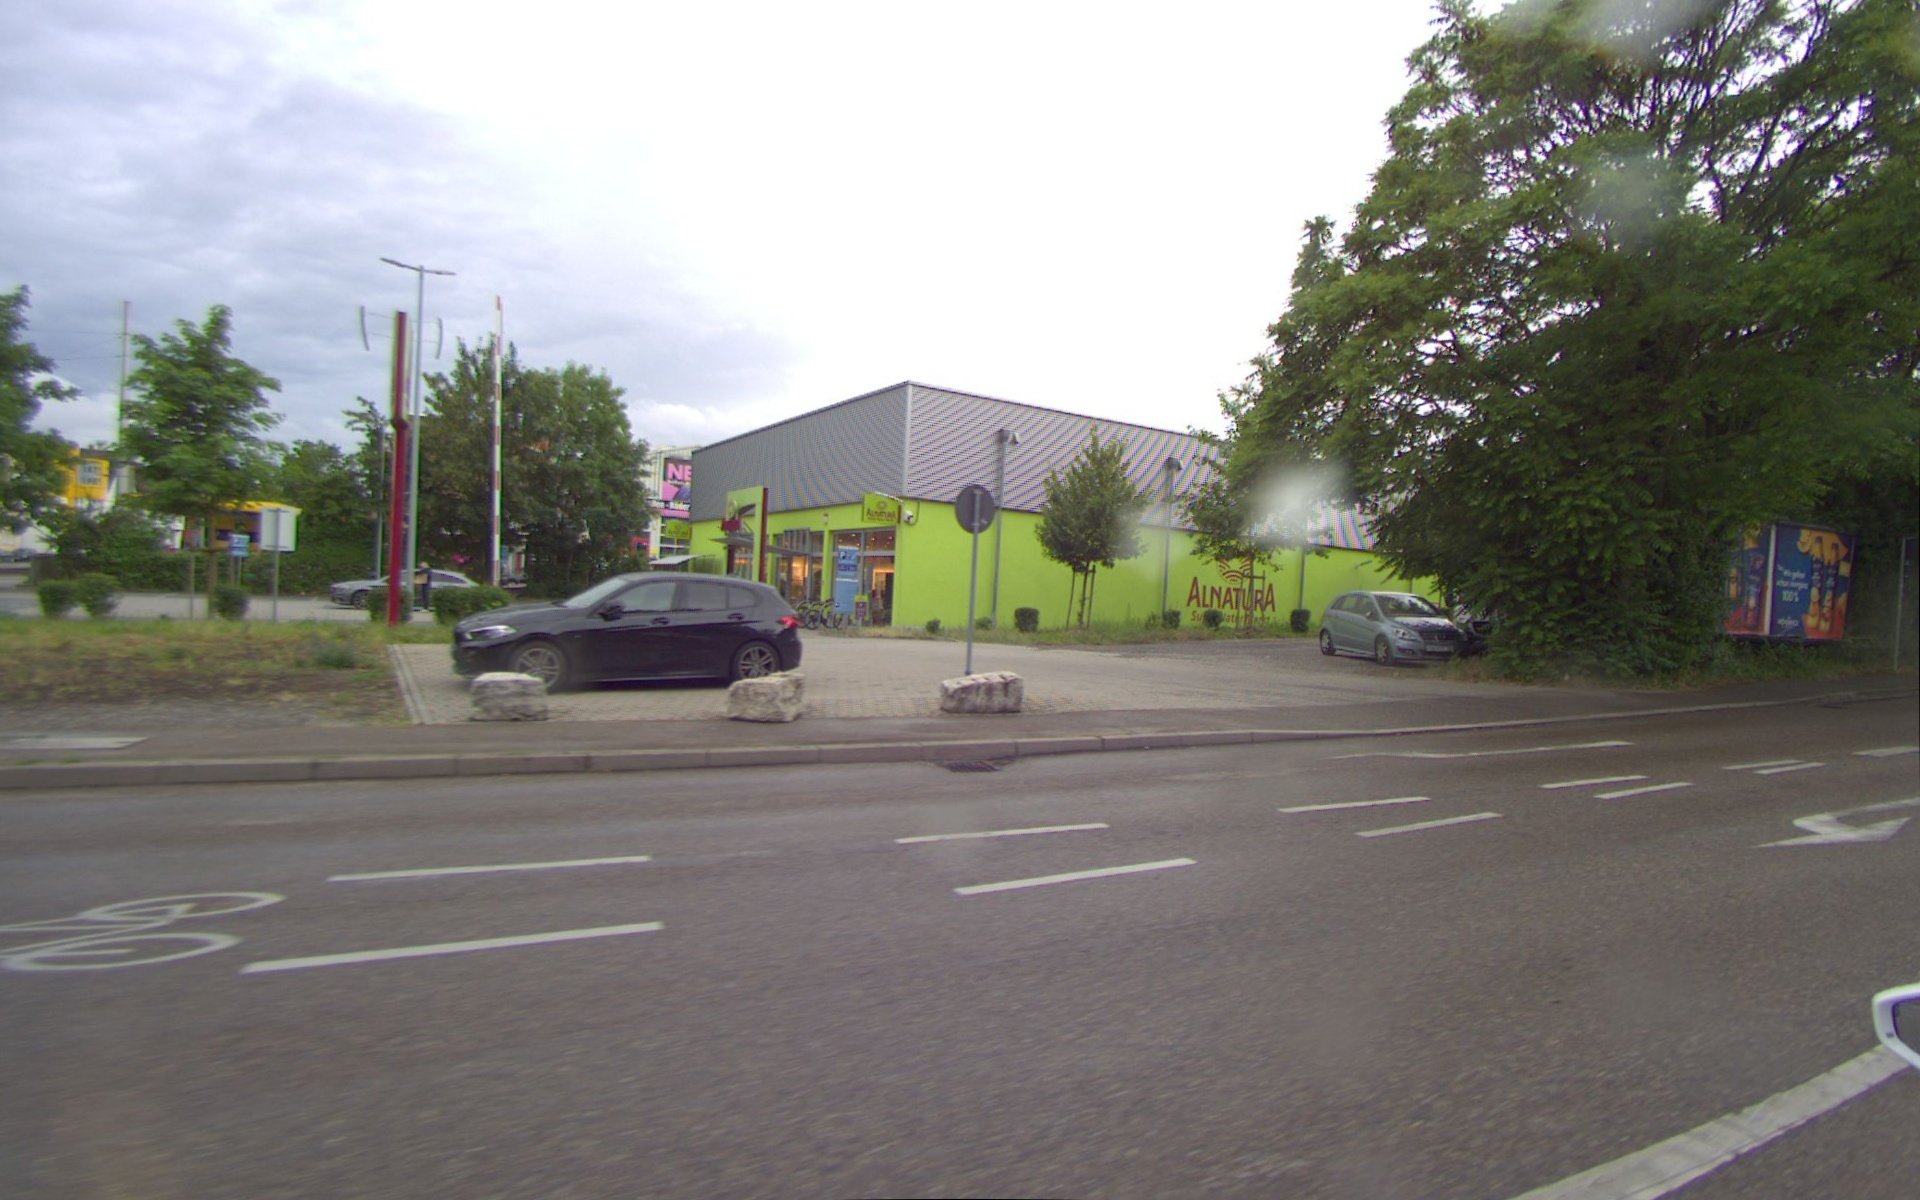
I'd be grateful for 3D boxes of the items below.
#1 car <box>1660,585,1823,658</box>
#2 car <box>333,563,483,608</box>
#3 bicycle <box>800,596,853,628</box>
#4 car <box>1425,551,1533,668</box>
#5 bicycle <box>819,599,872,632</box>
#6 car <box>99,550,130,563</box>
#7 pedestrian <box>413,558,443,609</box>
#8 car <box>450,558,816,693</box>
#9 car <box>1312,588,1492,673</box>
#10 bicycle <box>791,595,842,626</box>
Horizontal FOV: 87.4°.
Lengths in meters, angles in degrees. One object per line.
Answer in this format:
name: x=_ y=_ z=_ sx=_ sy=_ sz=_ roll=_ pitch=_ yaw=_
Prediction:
car: x=23.892 y=0.584 z=30.922 sx=1.960 sy=1.963 sz=4.000 roll=2 pitch=2 yaw=3
car: x=-18.721 y=-0.486 z=34.197 sx=4.328 sy=1.363 sz=1.761 roll=2 pitch=1 yaw=-30
bicycle: x=-4.372 y=0.384 z=32.939 sx=1.597 sy=0.995 sz=0.529 roll=2 pitch=0 yaw=-31
car: x=13.274 y=0.145 z=25.499 sx=2.075 sy=2.567 sz=5.594 roll=3 pitch=3 yaw=30
bicycle: x=-3.639 y=0.502 z=31.930 sx=1.597 sy=0.995 sz=0.529 roll=2 pitch=0 yaw=-31
car: x=-107.626 y=-5.596 z=127.904 sx=1.701 sy=1.569 sz=4.181 roll=1 pitch=2 yaw=-19
pedestrian: x=-17.498 y=-0.551 z=33.043 sx=0.792 sy=1.618 sz=0.755 roll=1 pitch=3 yaw=-22
car: x=-4.150 y=0.311 z=12.896 sx=4.185 sy=1.468 sz=1.738 roll=2 pitch=2 yaw=-30
car: x=9.827 y=0.608 z=22.717 sx=1.962 sy=1.564 sz=4.122 roll=2 pitch=2 yaw=-4
bicycle: x=-4.835 y=0.341 z=33.828 sx=1.597 sy=0.995 sz=0.529 roll=2 pitch=0 yaw=-31
